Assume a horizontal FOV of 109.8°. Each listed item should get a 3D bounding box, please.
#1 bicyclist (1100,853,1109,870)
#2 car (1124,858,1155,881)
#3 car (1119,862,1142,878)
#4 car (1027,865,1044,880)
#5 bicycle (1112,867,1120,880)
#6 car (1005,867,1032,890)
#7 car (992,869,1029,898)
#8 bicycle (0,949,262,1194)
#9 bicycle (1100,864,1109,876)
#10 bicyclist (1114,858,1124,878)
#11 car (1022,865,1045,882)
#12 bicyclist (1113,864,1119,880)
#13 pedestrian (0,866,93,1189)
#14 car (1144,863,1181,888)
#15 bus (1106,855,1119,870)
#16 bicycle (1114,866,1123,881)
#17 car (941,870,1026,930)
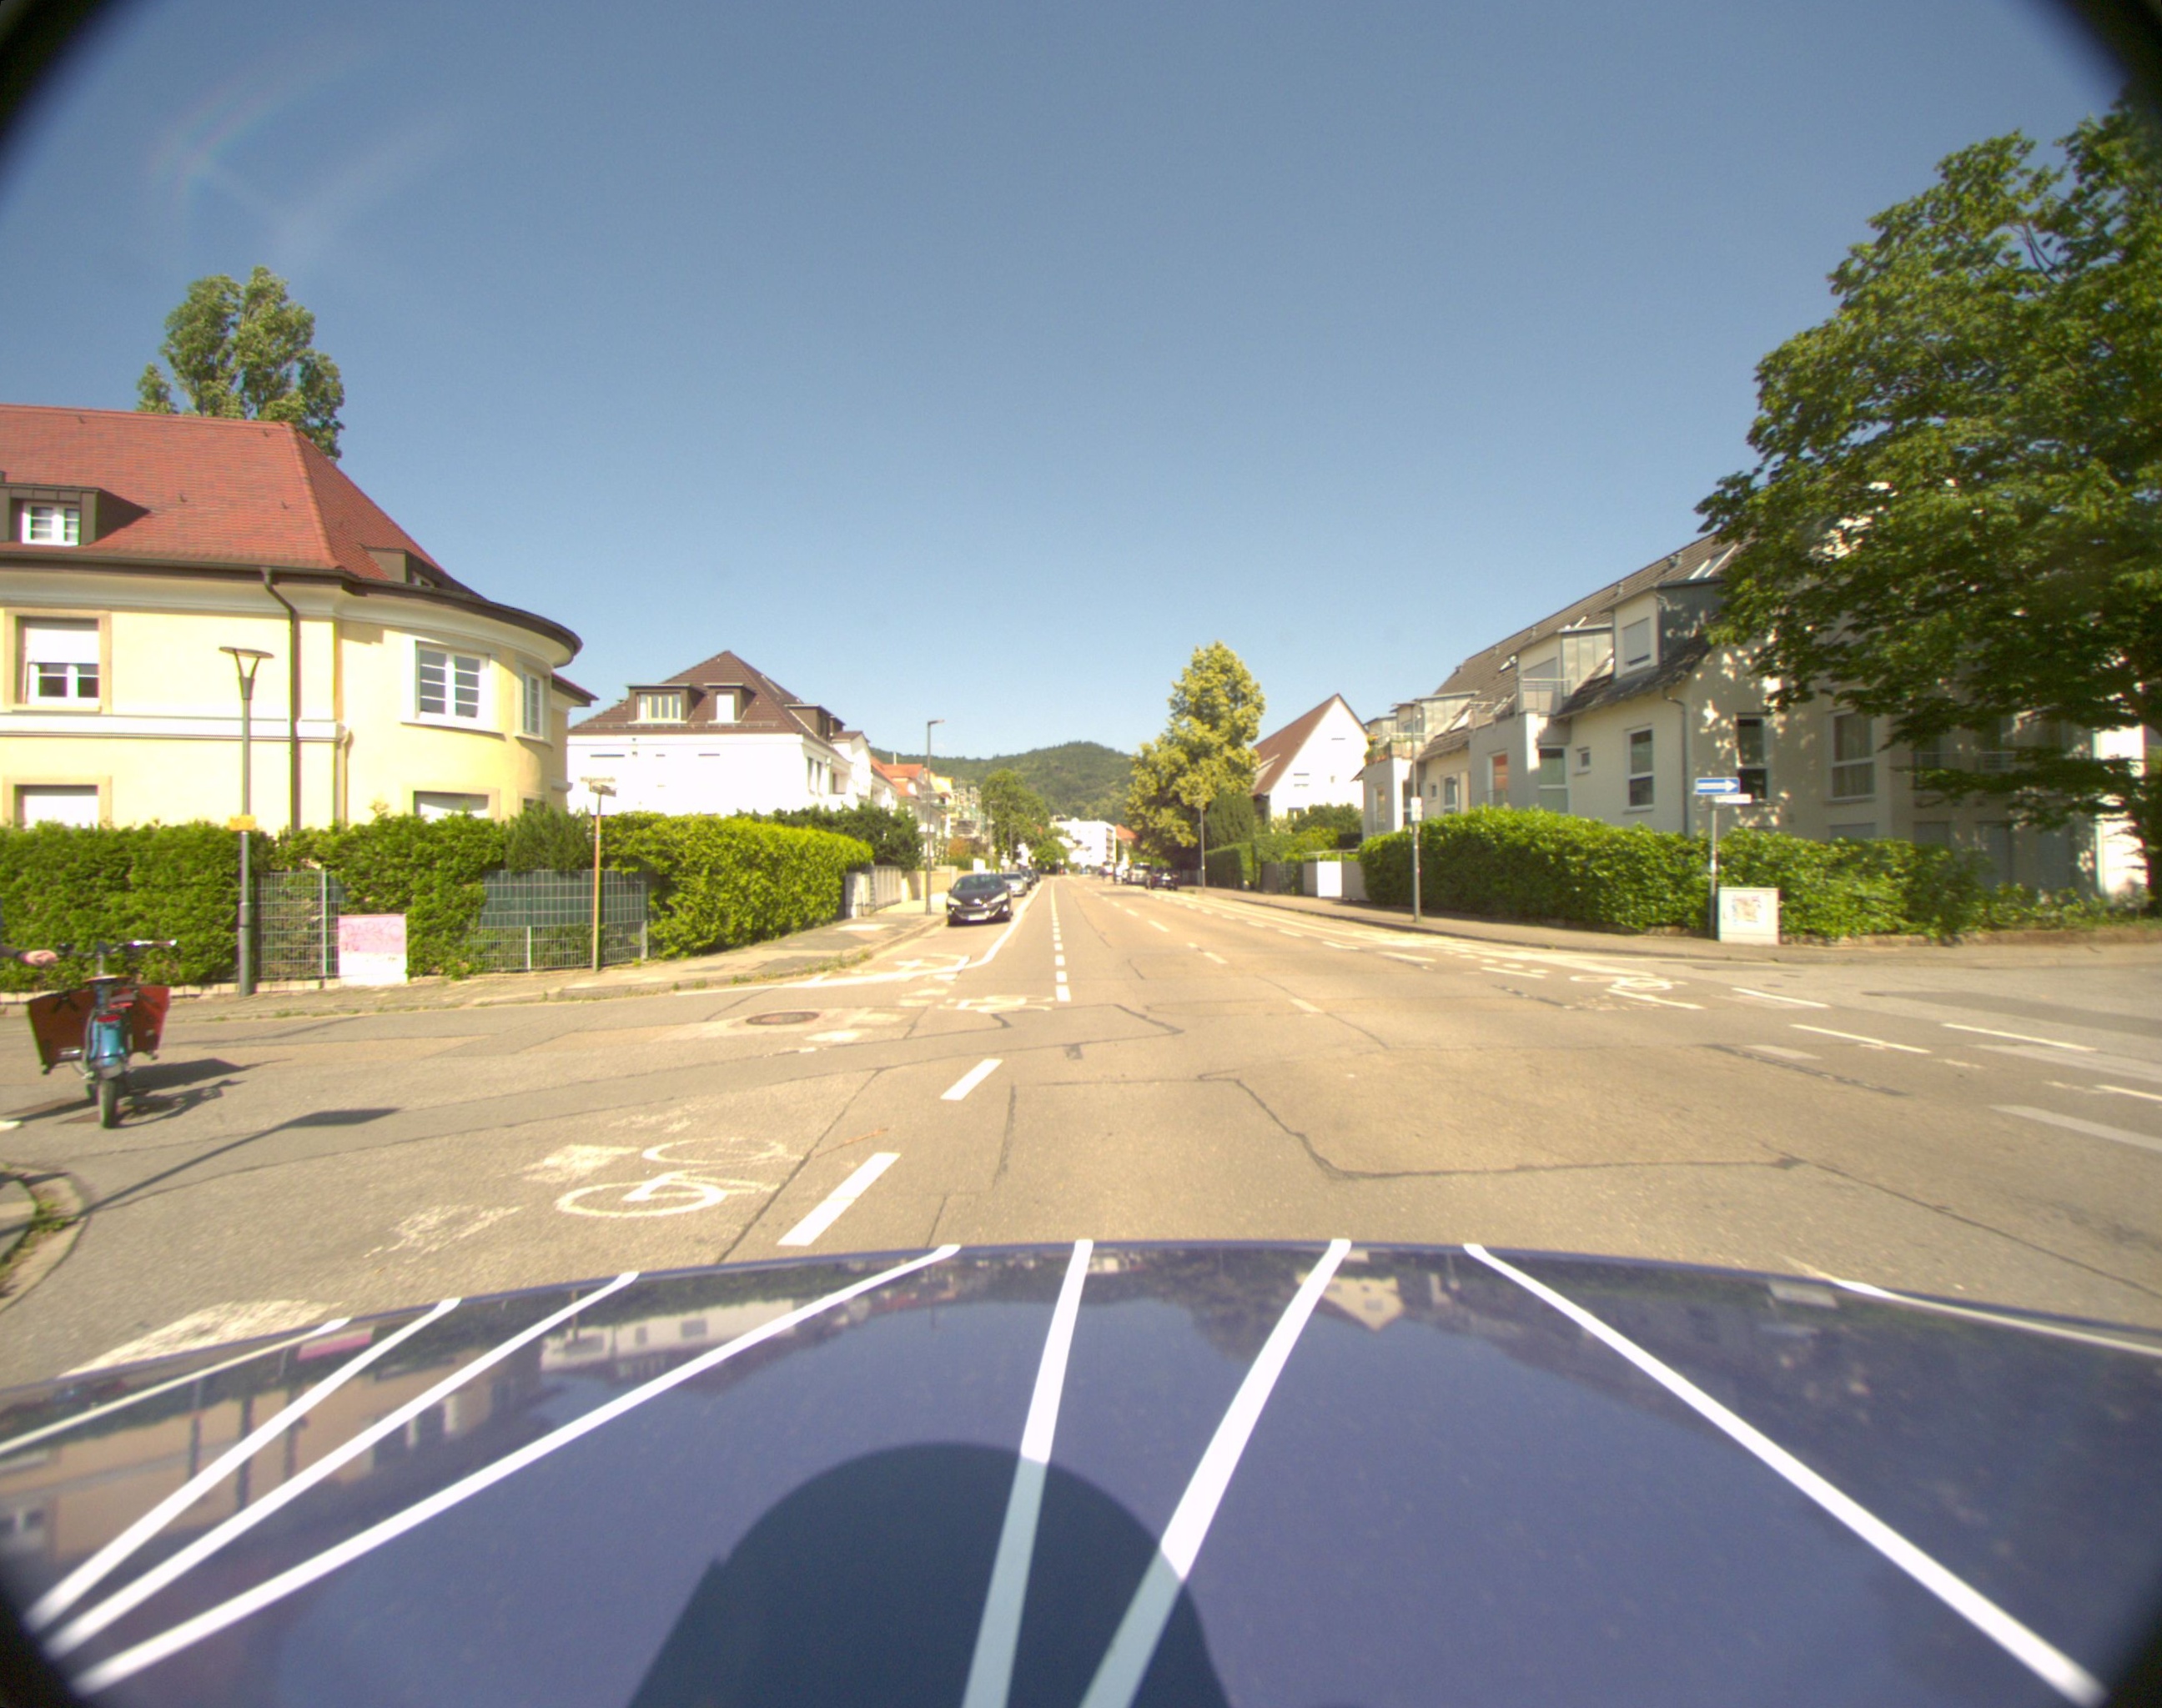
[{"bbox_3d":[2.392,0.748,77.612,0.751,1.658,1.021,2,0,-2],"label":"bicyclist"},{"bbox_3d":[5.045,1.358,65.992,1.890,1.908,4.866,1,-1,-5],"label":"car"},{"bbox_3d":[4.912,1.566,75.872,1.838,1.477,4.561,1,0,-2],"label":"car"},{"bbox_3d":[-5.098,1.989,83.832,1.701,1.573,4.899,-2,-1,-5],"label":"car"},{"bbox_3d":[3.185,1.776,69.229,0.602,1.098,1.346,2,0,-2],"label":"bicycle"},{"bbox_3d":[-4.396,1.706,53.831,1.727,1.440,4.167,-4,0,-4],"label":"car"},{"bbox_3d":[-3.826,1.598,41.582,1.741,1.321,4.075,-3,0,-2],"label":"car"},{"bbox_3d":[-6.760,1.339,5.270,2.704,1.151,0.865,-1,0,30],"label":"bicycle"},{"bbox_3d":[2.411,1.644,77.384,0.785,1.159,2.420,2,0,-2],"label":"bicycle"},{"bbox_3d":[3.236,1.191,64.495,0.677,1.571,0.859,5,0,-2],"label":"bicyclist"},{"bbox_3d":[-4.301,1.763,69.848,1.623,1.440,4.001,-1,-1,3],"label":"car"},{"bbox_3d":[3.170,1.666,69.174,0.492,1.445,0.964,2,0,-2],"label":"bicyclist"},{"bbox_3d":[-6.900,1.008,4.530,0.903,1.861,1.186,-1,0,-35],"label":"pedestrian"},{"bbox_3d":[5.601,1.448,52.534,1.856,1.601,4.447,1,-1,-3],"label":"car"},{"bbox_3d":[6.905,1.981,169.243,2.752,3.155,9.781,1,-1,2],"label":"bus"},{"bbox_3d":[3.185,1.629,64.052,0.560,1.178,2.036,2,-1,-2],"label":"bicycle"},{"bbox_3d":[-2.795,1.296,22.719,1.741,1.459,4.346,-4,0,2],"label":"car"}]
